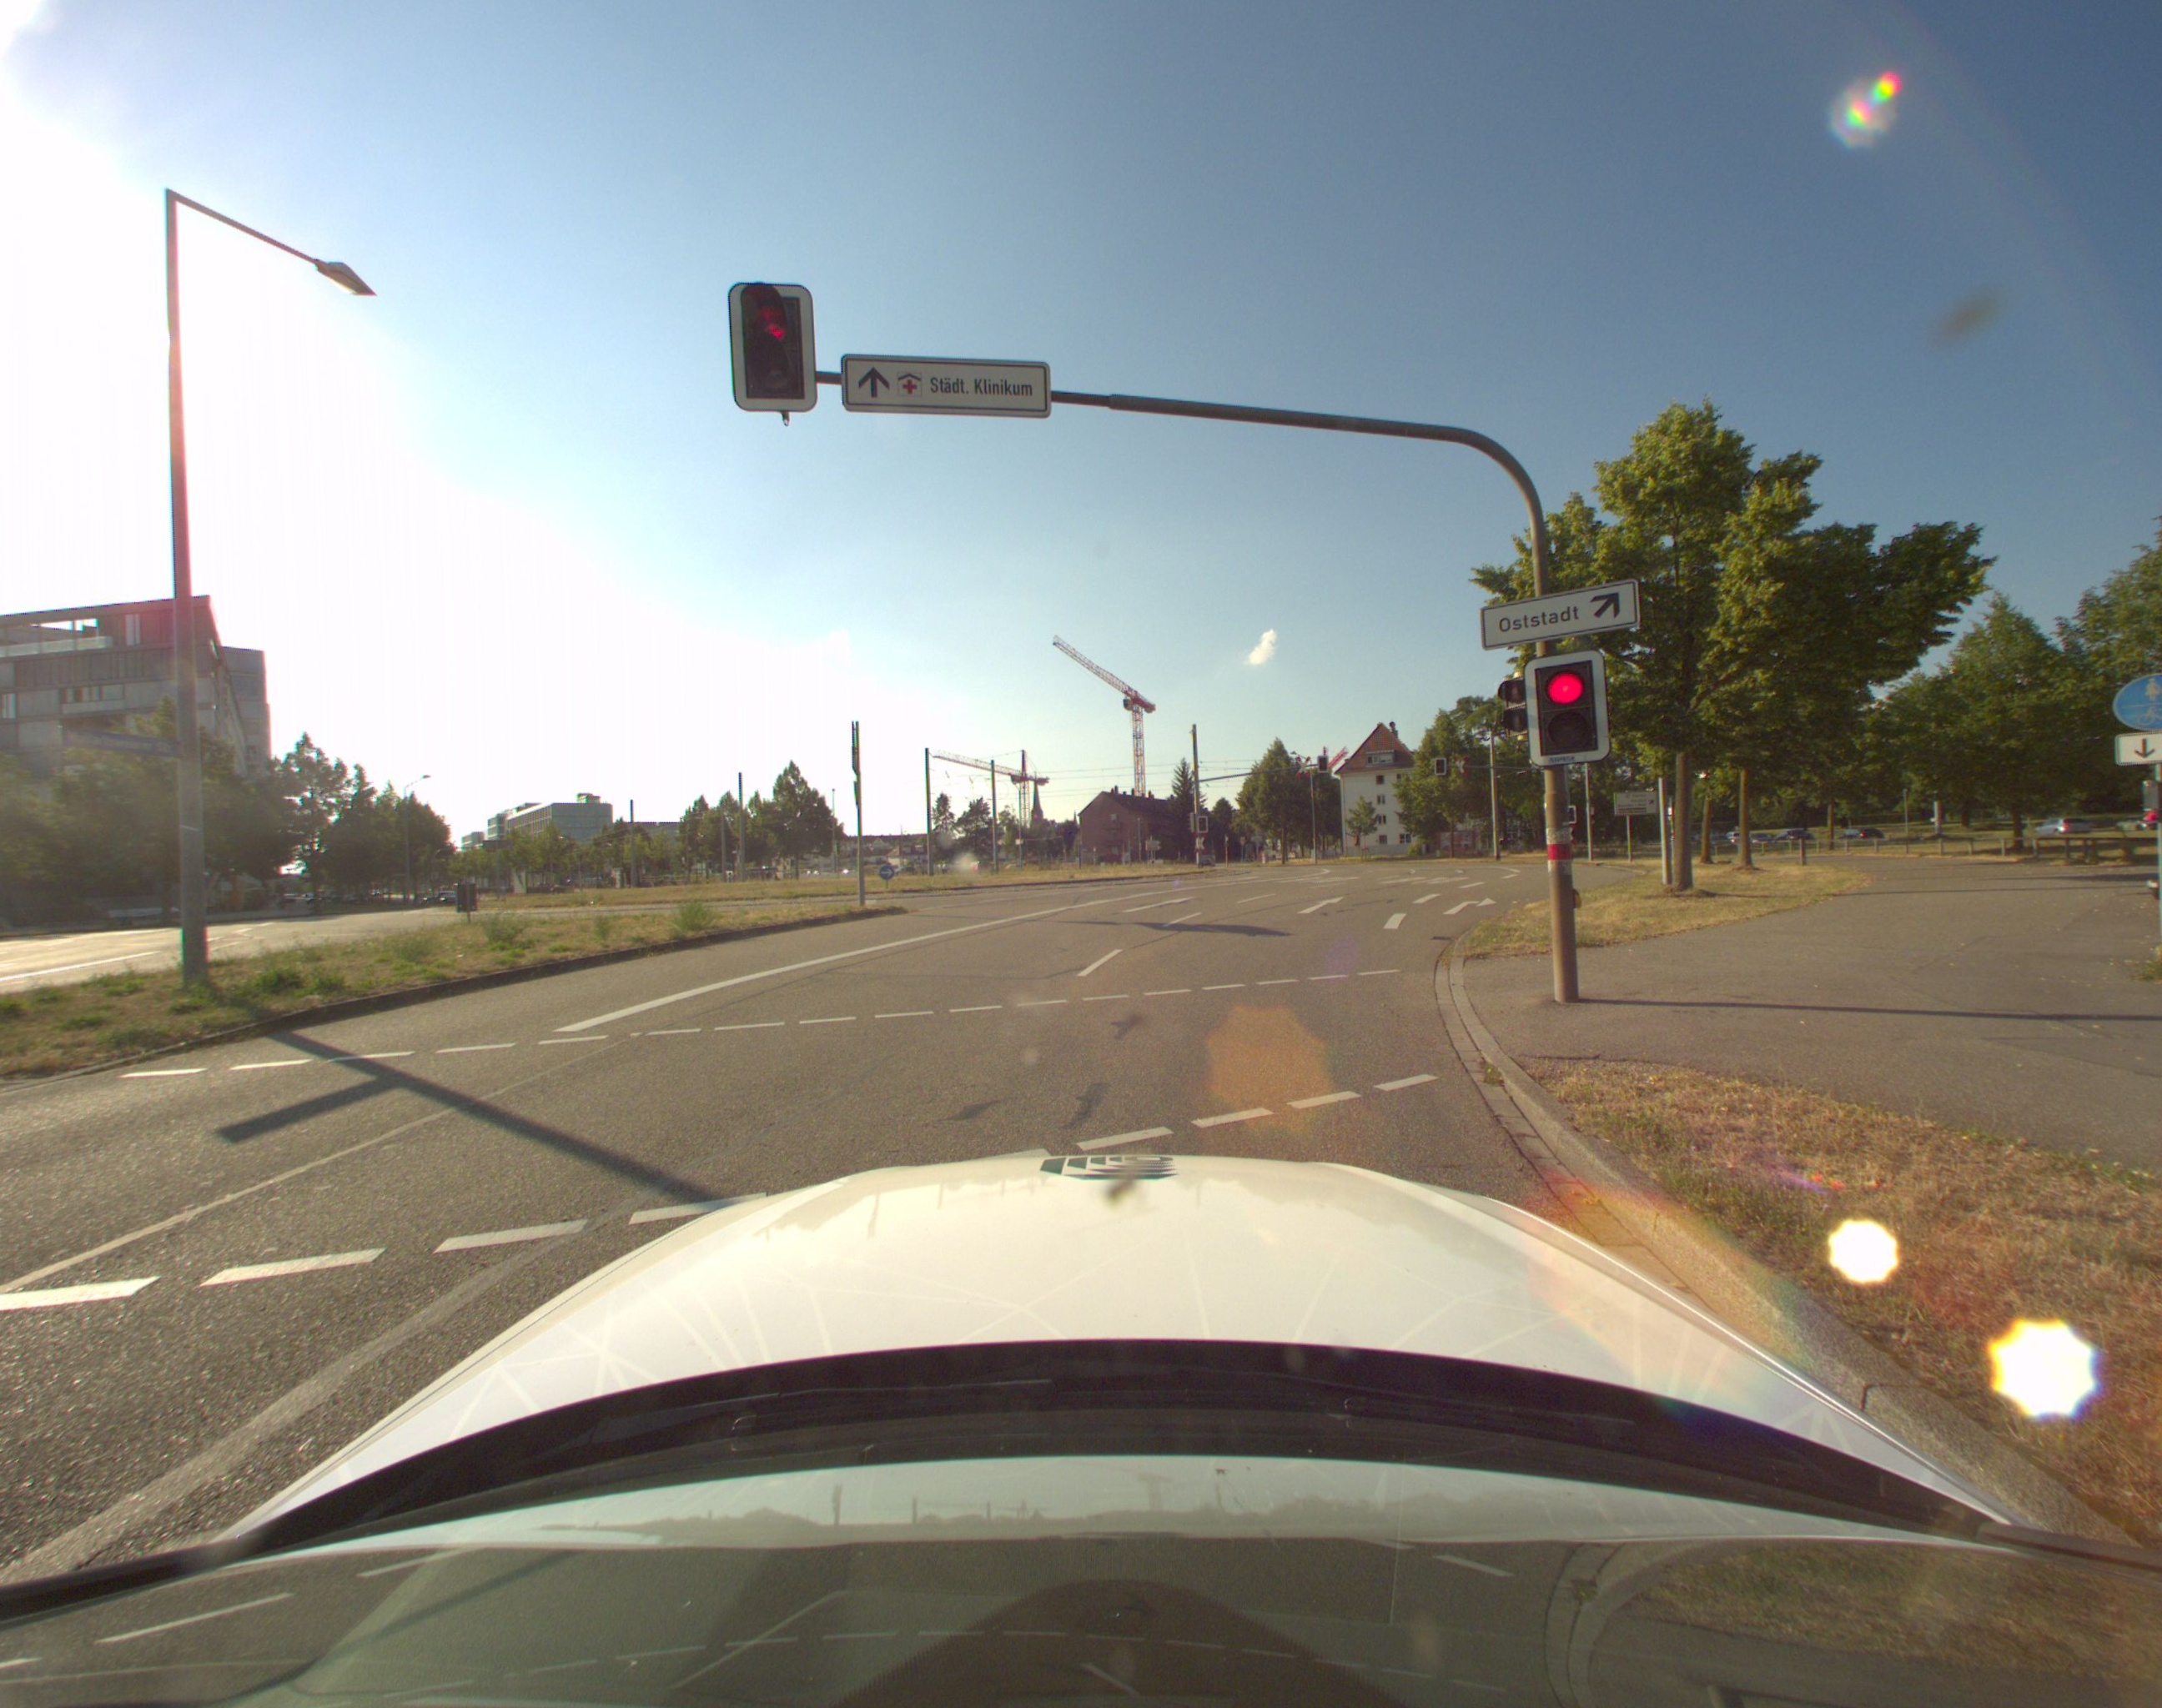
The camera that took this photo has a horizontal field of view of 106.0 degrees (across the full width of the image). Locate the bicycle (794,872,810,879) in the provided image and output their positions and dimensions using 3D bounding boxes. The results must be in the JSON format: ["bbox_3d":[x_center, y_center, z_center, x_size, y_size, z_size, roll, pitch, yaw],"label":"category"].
[{"bbox_3d":[-32.452,2.460,94.628,1.725,0.744,0.476,-2,0,-26],"label":"bicycle"}]

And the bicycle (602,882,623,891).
[{"bbox_3d":[-46.819,3.246,81.419,1.731,0.744,0.475,-2,0,-43],"label":"bicycle"}]

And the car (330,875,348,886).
[{"bbox_3d":[-110.630,3.906,121.418,1.800,1.556,3.950,0,-1,-45],"label":"car"}]

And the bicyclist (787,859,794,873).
[{"bbox_3d":[-33.179,1.368,93.099,0.610,1.672,0.473,-2,-1,-31],"label":"bicyclist"}]

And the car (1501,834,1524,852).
[{"bbox_3d":[43.045,-1.067,81.237,1.754,1.618,3.993,-3,-1,30],"label":"car"}]

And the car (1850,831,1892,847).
[{"bbox_3d":[67.155,-1.252,69.261,1.586,1.310,3.993,-3,-1,30],"label":"car"}]

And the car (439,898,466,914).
[{"bbox_3d":[-66.065,5.484,85.597,2.011,1.475,3.952,-2,0,-42],"label":"car"}]

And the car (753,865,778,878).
[{"bbox_3d":[-53.283,2.986,137.519,3.948,2.013,2.013,-3,0,36],"label":"car"}]

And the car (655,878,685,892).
[{"bbox_3d":[-43.299,3.270,85.783,2.688,1.261,1.101,-2,0,-39],"label":"car"}]

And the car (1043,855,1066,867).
[{"bbox_3d":[-4.842,1.332,149.965,3.776,2.014,1.680,-3,-1,20],"label":"car"}]

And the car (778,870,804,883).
[{"bbox_3d":[-46.985,3.675,132.040,3.948,2.013,2.013,-3,0,36],"label":"car"}]

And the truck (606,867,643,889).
[{"bbox_3d":[-71.725,3.726,127.902,3.156,3.231,7.085,-2,0,-44],"label":"truck"}]

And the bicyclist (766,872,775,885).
[{"bbox_3d":[-35.337,2.766,92.670,0.958,1.357,0.688,-2,0,-25],"label":"bicyclist"}]

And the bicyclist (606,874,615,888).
[{"bbox_3d":[-46.980,2.683,81.327,0.658,1.325,0.512,-2,0,-42],"label":"bicyclist"}]

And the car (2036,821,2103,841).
[{"bbox_3d":[78.200,-1.769,64.471,1.804,1.403,4.023,-3,-1,26],"label":"car"}]

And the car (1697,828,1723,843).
[{"bbox_3d":[64.705,-1.842,83.841,1.586,1.402,3.993,-3,-1,30],"label":"car"}]

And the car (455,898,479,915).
[{"bbox_3d":[-58.558,4.983,77.648,1.493,1.475,3.260,-2,0,-42],"label":"car"}]

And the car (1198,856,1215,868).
[{"bbox_3d":[15.560,0.949,100.746,1.443,1.300,3.566,-3,0,19],"label":"car"}]

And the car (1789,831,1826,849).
[{"bbox_3d":[63.461,-1.206,71.177,1.586,1.402,3.993,-3,-1,30],"label":"car"}]

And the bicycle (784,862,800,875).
[{"bbox_3d":[-33.060,1.667,93.146,1.549,1.473,0.475,-2,0,-31],"label":"bicycle"}]

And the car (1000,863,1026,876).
[{"bbox_3d":[-11.161,2.572,132.959,3.776,2.014,1.680,-3,-1,20],"label":"car"}]

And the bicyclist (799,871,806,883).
[{"bbox_3d":[-32.375,2.652,94.664,0.655,1.325,0.514,-2,0,-26],"label":"bicyclist"}]

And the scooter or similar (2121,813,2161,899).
[{"bbox_3d":[15.397,0.005,11.593,1.172,1.160,0.340,-4,-3,-23],"label":"scooter or similar"}]

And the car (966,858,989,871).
[{"bbox_3d":[-14.903,1.521,116.709,1.930,1.854,3.964,-2,0,-27],"label":"car"}]

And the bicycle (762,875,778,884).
[{"bbox_3d":[-35.351,2.899,92.631,1.622,0.860,0.541,-2,0,-24],"label":"bicycle"}]

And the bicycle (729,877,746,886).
[{"bbox_3d":[-37.270,3.005,88.331,1.622,0.860,0.541,-2,0,-24],"label":"bicycle"}]

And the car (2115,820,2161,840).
[{"bbox_3d":[82.834,-1.870,63.028,1.804,1.403,4.023,-3,-1,26],"label":"car"}]

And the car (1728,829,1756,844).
[{"bbox_3d":[67.211,-1.716,82.845,1.586,1.402,3.993,-3,-1,30],"label":"car"}]

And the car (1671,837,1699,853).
[{"bbox_3d":[56.042,-0.858,75.646,1.586,1.402,3.993,-3,-1,30],"label":"car"}]
